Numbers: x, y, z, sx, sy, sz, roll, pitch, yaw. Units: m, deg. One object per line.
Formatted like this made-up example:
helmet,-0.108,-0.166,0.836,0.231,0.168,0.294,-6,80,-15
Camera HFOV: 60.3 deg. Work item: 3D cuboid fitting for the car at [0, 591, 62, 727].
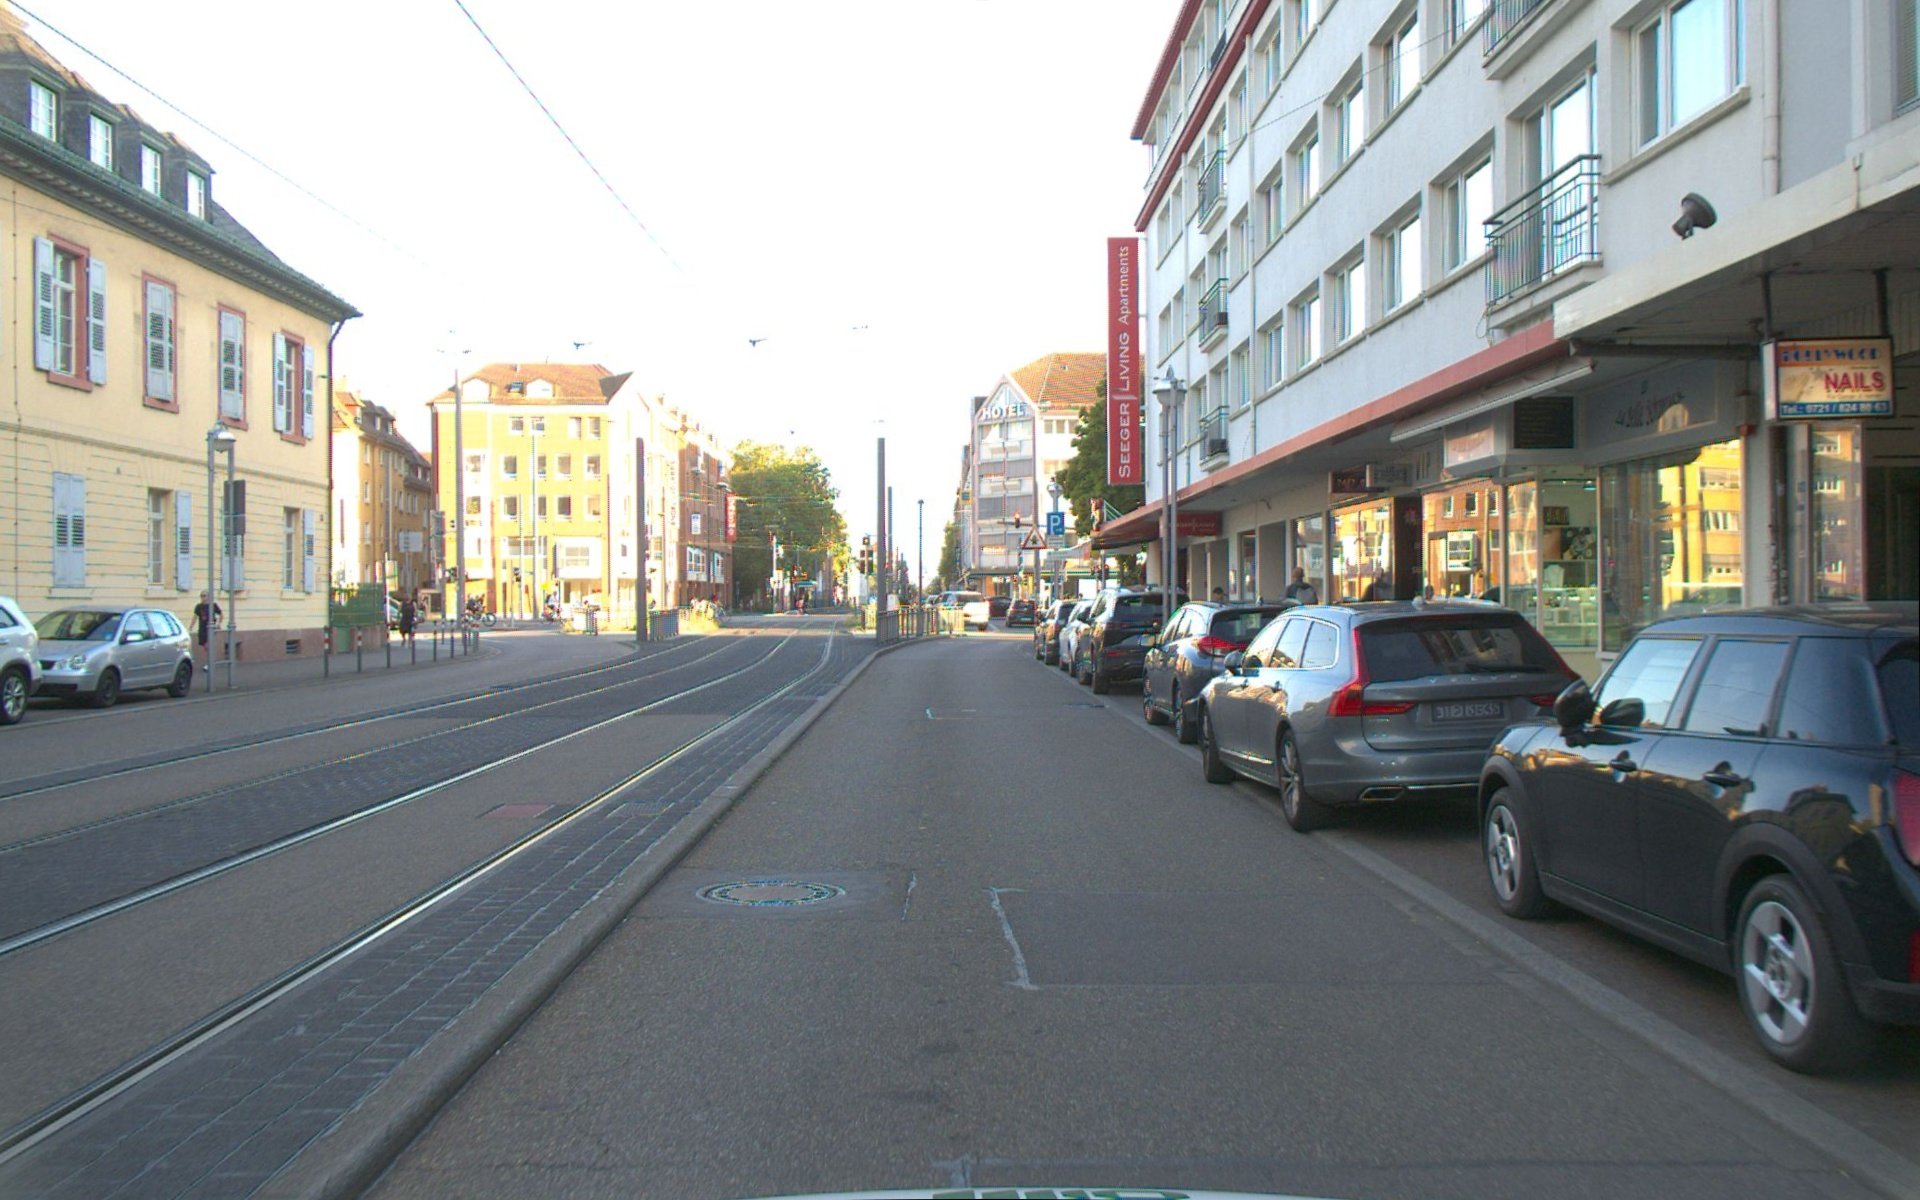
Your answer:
car,-12.937,0.734,19.883,1.849,1.690,4.758,1,0,-3

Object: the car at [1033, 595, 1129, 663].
car,2.746,0.651,38.471,1.754,1.437,4.686,1,0,-1

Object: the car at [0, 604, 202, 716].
car,-13.401,0.853,25.418,1.713,1.500,3.999,1,1,-1

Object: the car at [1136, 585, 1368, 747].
car,3.106,0.636,18.449,1.745,1.549,4.356,1,0,-1

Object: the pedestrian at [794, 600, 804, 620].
pedestrian,-13.706,0.876,140.730,0.788,1.693,0.703,1,-1,2

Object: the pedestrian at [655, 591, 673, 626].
pedestrian,-11.997,0.327,67.025,0.650,1.399,0.651,-1,0,-4

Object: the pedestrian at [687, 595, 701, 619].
pedestrian,-23.304,0.618,144.788,1.071,2.049,0.908,1,-1,-4

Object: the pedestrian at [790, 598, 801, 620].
pedestrian,-14.070,0.786,141.414,0.788,1.855,0.703,1,-1,1

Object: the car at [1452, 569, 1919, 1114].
car,3.445,0.699,6.610,1.691,1.507,3.999,1,0,-1

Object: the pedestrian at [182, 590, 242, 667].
pedestrian,-15.467,0.582,34.204,0.783,1.569,0.877,1,-1,1

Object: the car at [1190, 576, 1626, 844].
car,3.017,0.671,12.289,1.755,1.560,4.855,1,0,-2

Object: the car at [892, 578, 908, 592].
car,-8.295,-2.066,229.246,1.953,1.934,4.000,1,0,0

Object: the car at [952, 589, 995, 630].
car,0.575,0.438,72.353,1.797,1.665,4.090,-2,-1,0

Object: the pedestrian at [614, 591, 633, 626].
pedestrian,-13.562,0.355,66.701,0.650,1.399,0.651,-1,0,-4

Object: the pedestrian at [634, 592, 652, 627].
pedestrian,-12.791,0.367,66.781,0.650,1.399,0.651,0,0,-4

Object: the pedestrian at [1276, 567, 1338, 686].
pedestrian,5.725,0.434,27.343,0.759,1.913,0.934,-1,0,-3

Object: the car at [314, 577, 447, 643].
car,-18.707,0.314,53.570,3.924,2.049,1.990,-1,0,-18

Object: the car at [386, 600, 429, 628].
car,-28.520,0.691,85.254,1.743,1.400,4.191,0,0,-24

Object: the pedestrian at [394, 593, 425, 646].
pedestrian,-16.406,0.578,49.288,0.705,1.563,0.718,-1,0,-6

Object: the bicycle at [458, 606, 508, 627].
bicycle,-26.503,0.902,91.901,2.602,1.119,0.433,1,-1,-21

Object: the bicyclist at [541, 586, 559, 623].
bicyclist,-22.865,0.248,92.241,0.848,2.049,0.642,2,-1,-22

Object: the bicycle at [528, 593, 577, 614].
bicycle,-22.717,0.206,92.286,2.602,1.119,0.433,1,-1,-21

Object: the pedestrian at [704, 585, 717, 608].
pedestrian,-22.645,-0.329,150.165,1.071,2.049,1.162,1,-1,-3

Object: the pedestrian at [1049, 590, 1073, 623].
pedestrian,5.338,0.348,87.557,0.815,1.714,1.037,2,-1,-31

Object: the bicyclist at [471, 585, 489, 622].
bicyclist,-26.662,0.194,91.855,0.848,2.049,0.642,1,-1,-21

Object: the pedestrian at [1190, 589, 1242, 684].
pedestrian,4.399,0.615,28.431,0.718,1.601,0.966,0,0,-2

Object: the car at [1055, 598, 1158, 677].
car,2.872,0.725,33.149,1.618,1.445,4.190,1,0,-1

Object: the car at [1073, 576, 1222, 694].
car,2.980,0.543,27.128,1.818,1.730,4.416,1,0,-1

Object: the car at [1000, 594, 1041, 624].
car,2.991,0.421,82.583,1.729,1.465,3.998,0,0,-3
